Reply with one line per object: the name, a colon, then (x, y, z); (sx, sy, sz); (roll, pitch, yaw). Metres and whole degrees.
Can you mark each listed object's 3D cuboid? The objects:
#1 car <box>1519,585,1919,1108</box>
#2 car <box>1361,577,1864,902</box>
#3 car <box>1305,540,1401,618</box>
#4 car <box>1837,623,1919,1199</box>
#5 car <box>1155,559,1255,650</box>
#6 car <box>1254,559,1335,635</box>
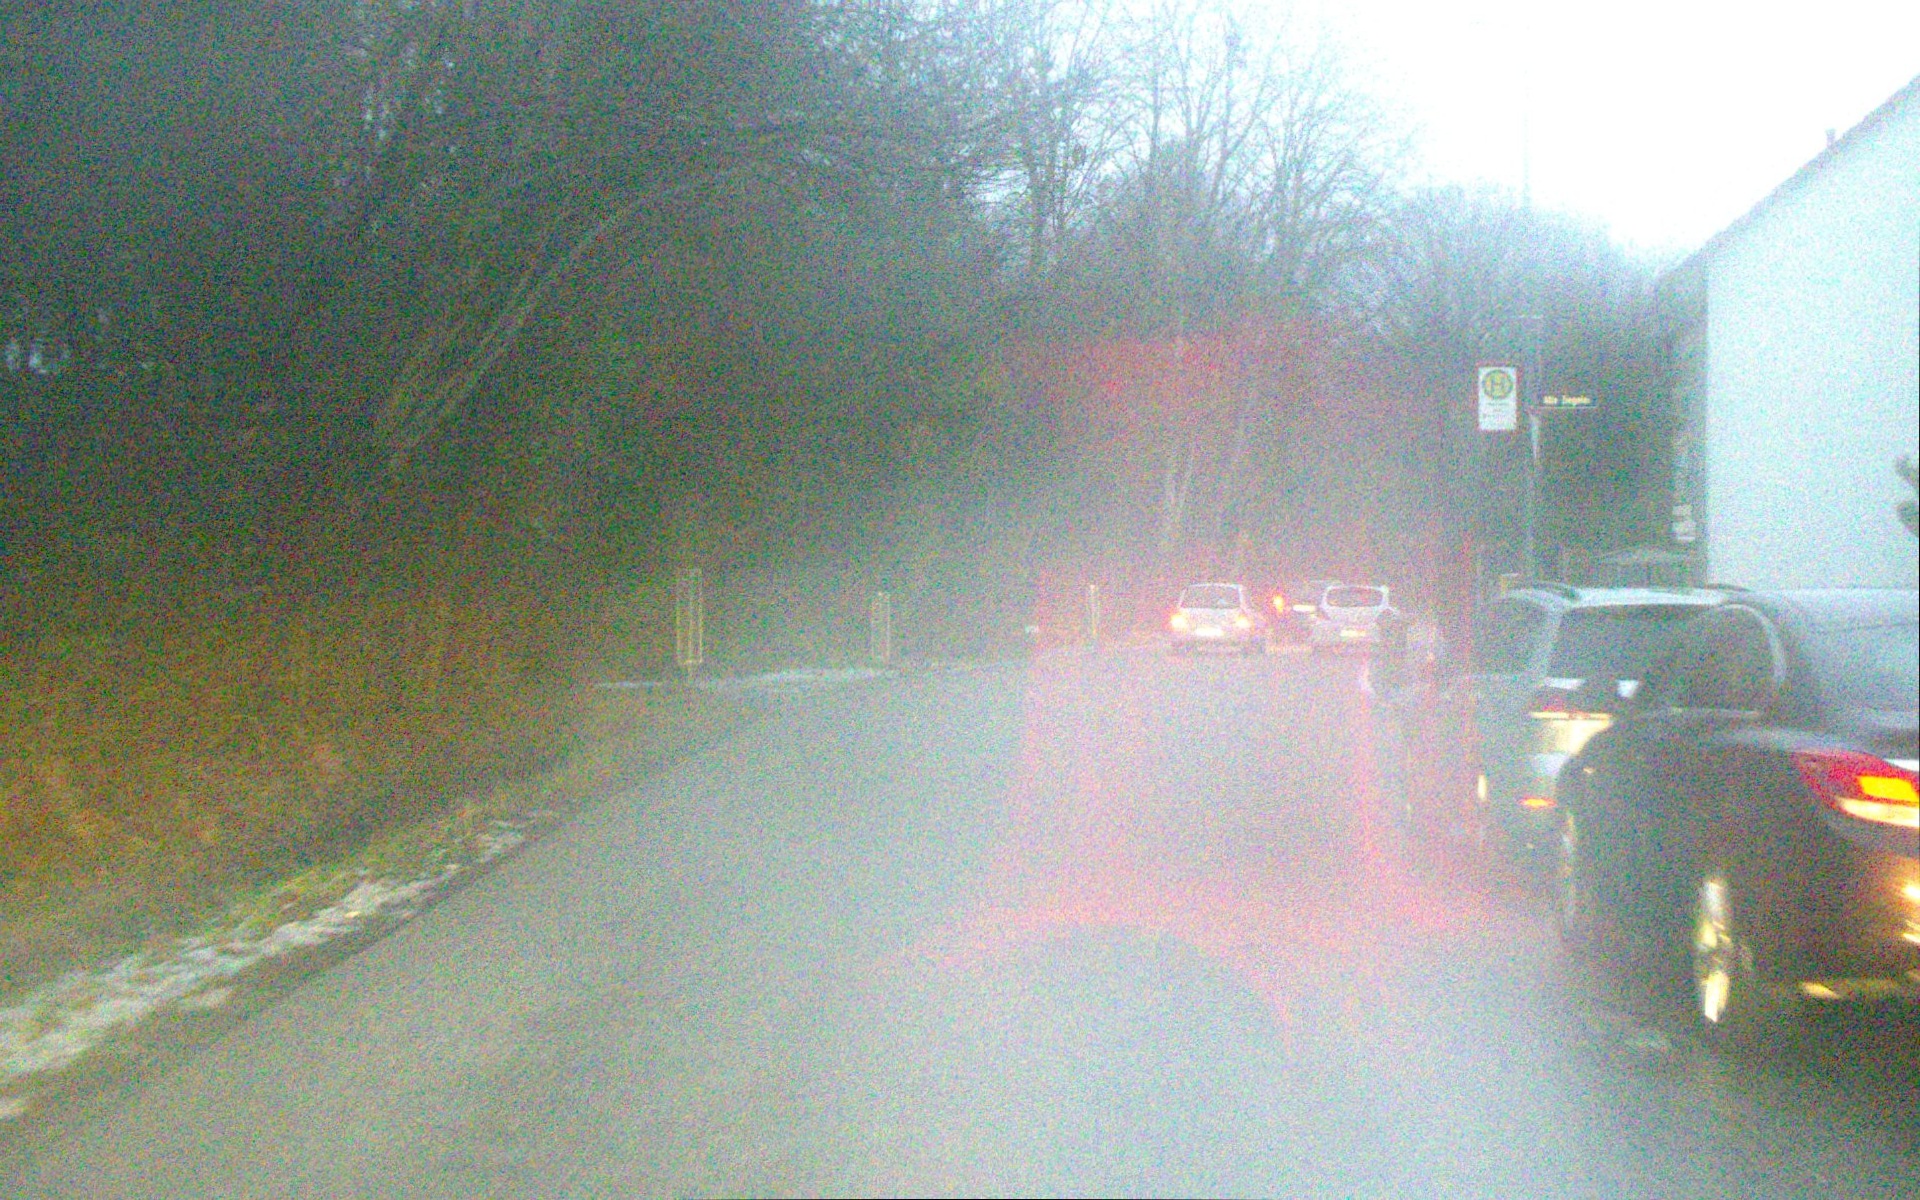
car: (3.124, 0.695, 11.727); (1.655, 1.424, 4.564); (2, 0, 0)
car: (3.242, 0.632, 17.939); (1.738, 1.424, 4.457); (2, 0, 0)
car: (8.052, -0.415, 70.204); (1.704, 1.501, 4.023); (1, 0, 10)
car: (3.039, 0.754, 6.298); (1.655, 1.385, 4.532); (0, 0, -1)
car: (4.911, 0.070, 68.948); (1.933, 1.775, 3.999); (0, 1, 4)
car: (8.017, -0.095, 82.147); (1.690, 1.768, 3.859); (0, 1, 9)
